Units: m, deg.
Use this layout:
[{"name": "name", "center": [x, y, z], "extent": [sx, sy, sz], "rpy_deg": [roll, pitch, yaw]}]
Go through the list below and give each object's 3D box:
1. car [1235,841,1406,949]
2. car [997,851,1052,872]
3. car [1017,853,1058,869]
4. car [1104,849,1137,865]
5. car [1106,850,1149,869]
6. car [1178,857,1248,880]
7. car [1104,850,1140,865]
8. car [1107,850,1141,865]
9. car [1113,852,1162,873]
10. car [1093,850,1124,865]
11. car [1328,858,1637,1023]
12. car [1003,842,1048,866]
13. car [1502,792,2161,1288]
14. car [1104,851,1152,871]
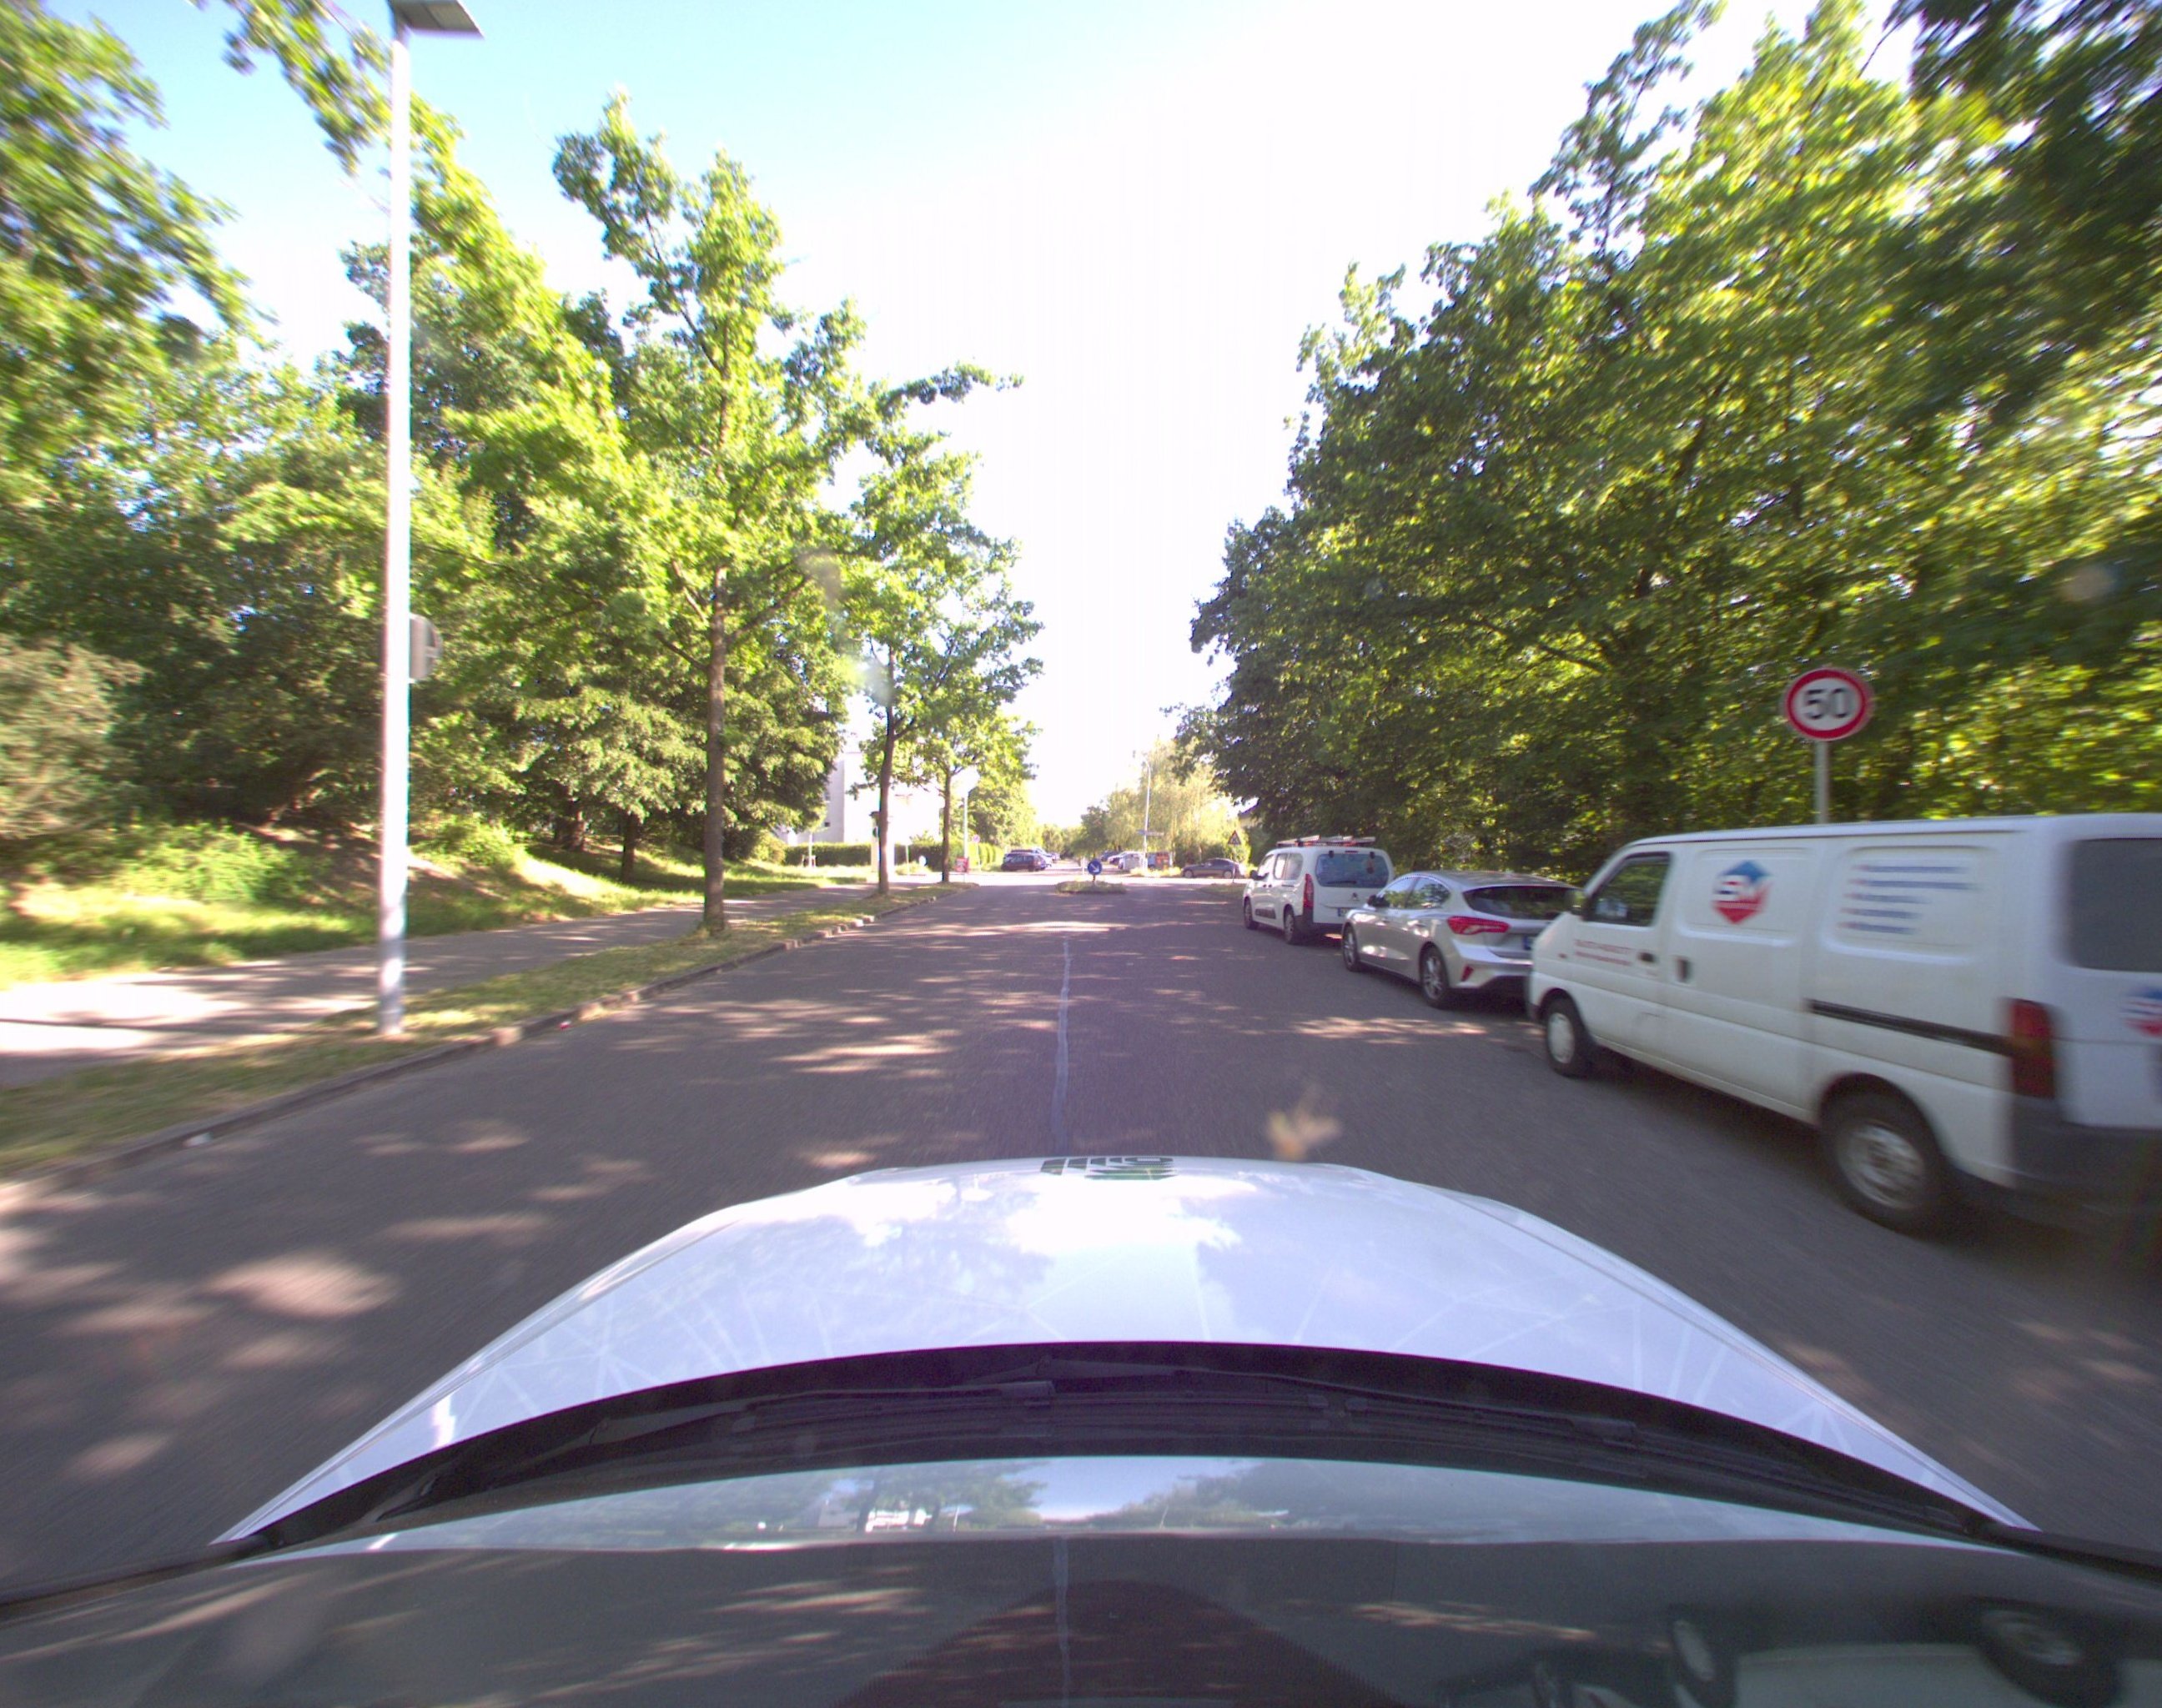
[{"name": "car", "center": [4.489, 0.690, 16.051], "extent": [1.787, 1.785, 4.552], "rpy_deg": [2, 0, -3]}, {"name": "car", "center": [-4.835, 0.642, 69.901], "extent": [4.296, 1.576, 2.050], "rpy_deg": [2, 0, 6]}, {"name": "car", "center": [-4.588, 0.752, 86.206], "extent": [4.091, 1.576, 1.959], "rpy_deg": [2, 0, 2]}, {"name": "car", "center": [4.875, 0.349, 100.215], "extent": [3.821, 1.796, 1.690], "rpy_deg": [2, 0, 4]}, {"name": "car", "center": [4.360, 0.507, 76.076], "extent": [3.818, 1.576, 1.691], "rpy_deg": [2, 0, 6]}, {"name": "car", "center": [9.217, 1.006, 56.867], "extent": [4.504, 1.434, 2.056], "rpy_deg": [2, 0, 20]}, {"name": "car", "center": [4.574, 0.402, 90.882], "extent": [3.818, 1.576, 1.691], "rpy_deg": [2, 0, 6]}, {"name": "car", "center": [5.000, 0.370, 94.015], "extent": [3.821, 1.576, 1.690], "rpy_deg": [2, 0, 4]}, {"name": "car", "center": [4.589, 0.656, 65.448], "extent": [3.818, 1.576, 1.691], "rpy_deg": [2, 0, 6]}, {"name": "car", "center": [3.605, 0.447, 105.141], "extent": [3.821, 1.796, 1.690], "rpy_deg": [2, 0, 4]}, {"name": "car", "center": [4.489, 0.835, 9.905], "extent": [1.685, 1.512, 4.206], "rpy_deg": [2, 0, 0]}, {"name": "car", "center": [-6.492, -0.045, 95.140], "extent": [5.191, 2.621, 2.289], "rpy_deg": [2, 0, -5]}, {"name": "car", "center": [4.229, 0.686, 4.775], "extent": [1.618, 1.773, 3.669], "rpy_deg": [2, 0, 0]}, {"name": "car", "center": [3.945, 0.589, 68.268], "extent": [3.818, 1.576, 1.691], "rpy_deg": [2, 0, 6]}]
